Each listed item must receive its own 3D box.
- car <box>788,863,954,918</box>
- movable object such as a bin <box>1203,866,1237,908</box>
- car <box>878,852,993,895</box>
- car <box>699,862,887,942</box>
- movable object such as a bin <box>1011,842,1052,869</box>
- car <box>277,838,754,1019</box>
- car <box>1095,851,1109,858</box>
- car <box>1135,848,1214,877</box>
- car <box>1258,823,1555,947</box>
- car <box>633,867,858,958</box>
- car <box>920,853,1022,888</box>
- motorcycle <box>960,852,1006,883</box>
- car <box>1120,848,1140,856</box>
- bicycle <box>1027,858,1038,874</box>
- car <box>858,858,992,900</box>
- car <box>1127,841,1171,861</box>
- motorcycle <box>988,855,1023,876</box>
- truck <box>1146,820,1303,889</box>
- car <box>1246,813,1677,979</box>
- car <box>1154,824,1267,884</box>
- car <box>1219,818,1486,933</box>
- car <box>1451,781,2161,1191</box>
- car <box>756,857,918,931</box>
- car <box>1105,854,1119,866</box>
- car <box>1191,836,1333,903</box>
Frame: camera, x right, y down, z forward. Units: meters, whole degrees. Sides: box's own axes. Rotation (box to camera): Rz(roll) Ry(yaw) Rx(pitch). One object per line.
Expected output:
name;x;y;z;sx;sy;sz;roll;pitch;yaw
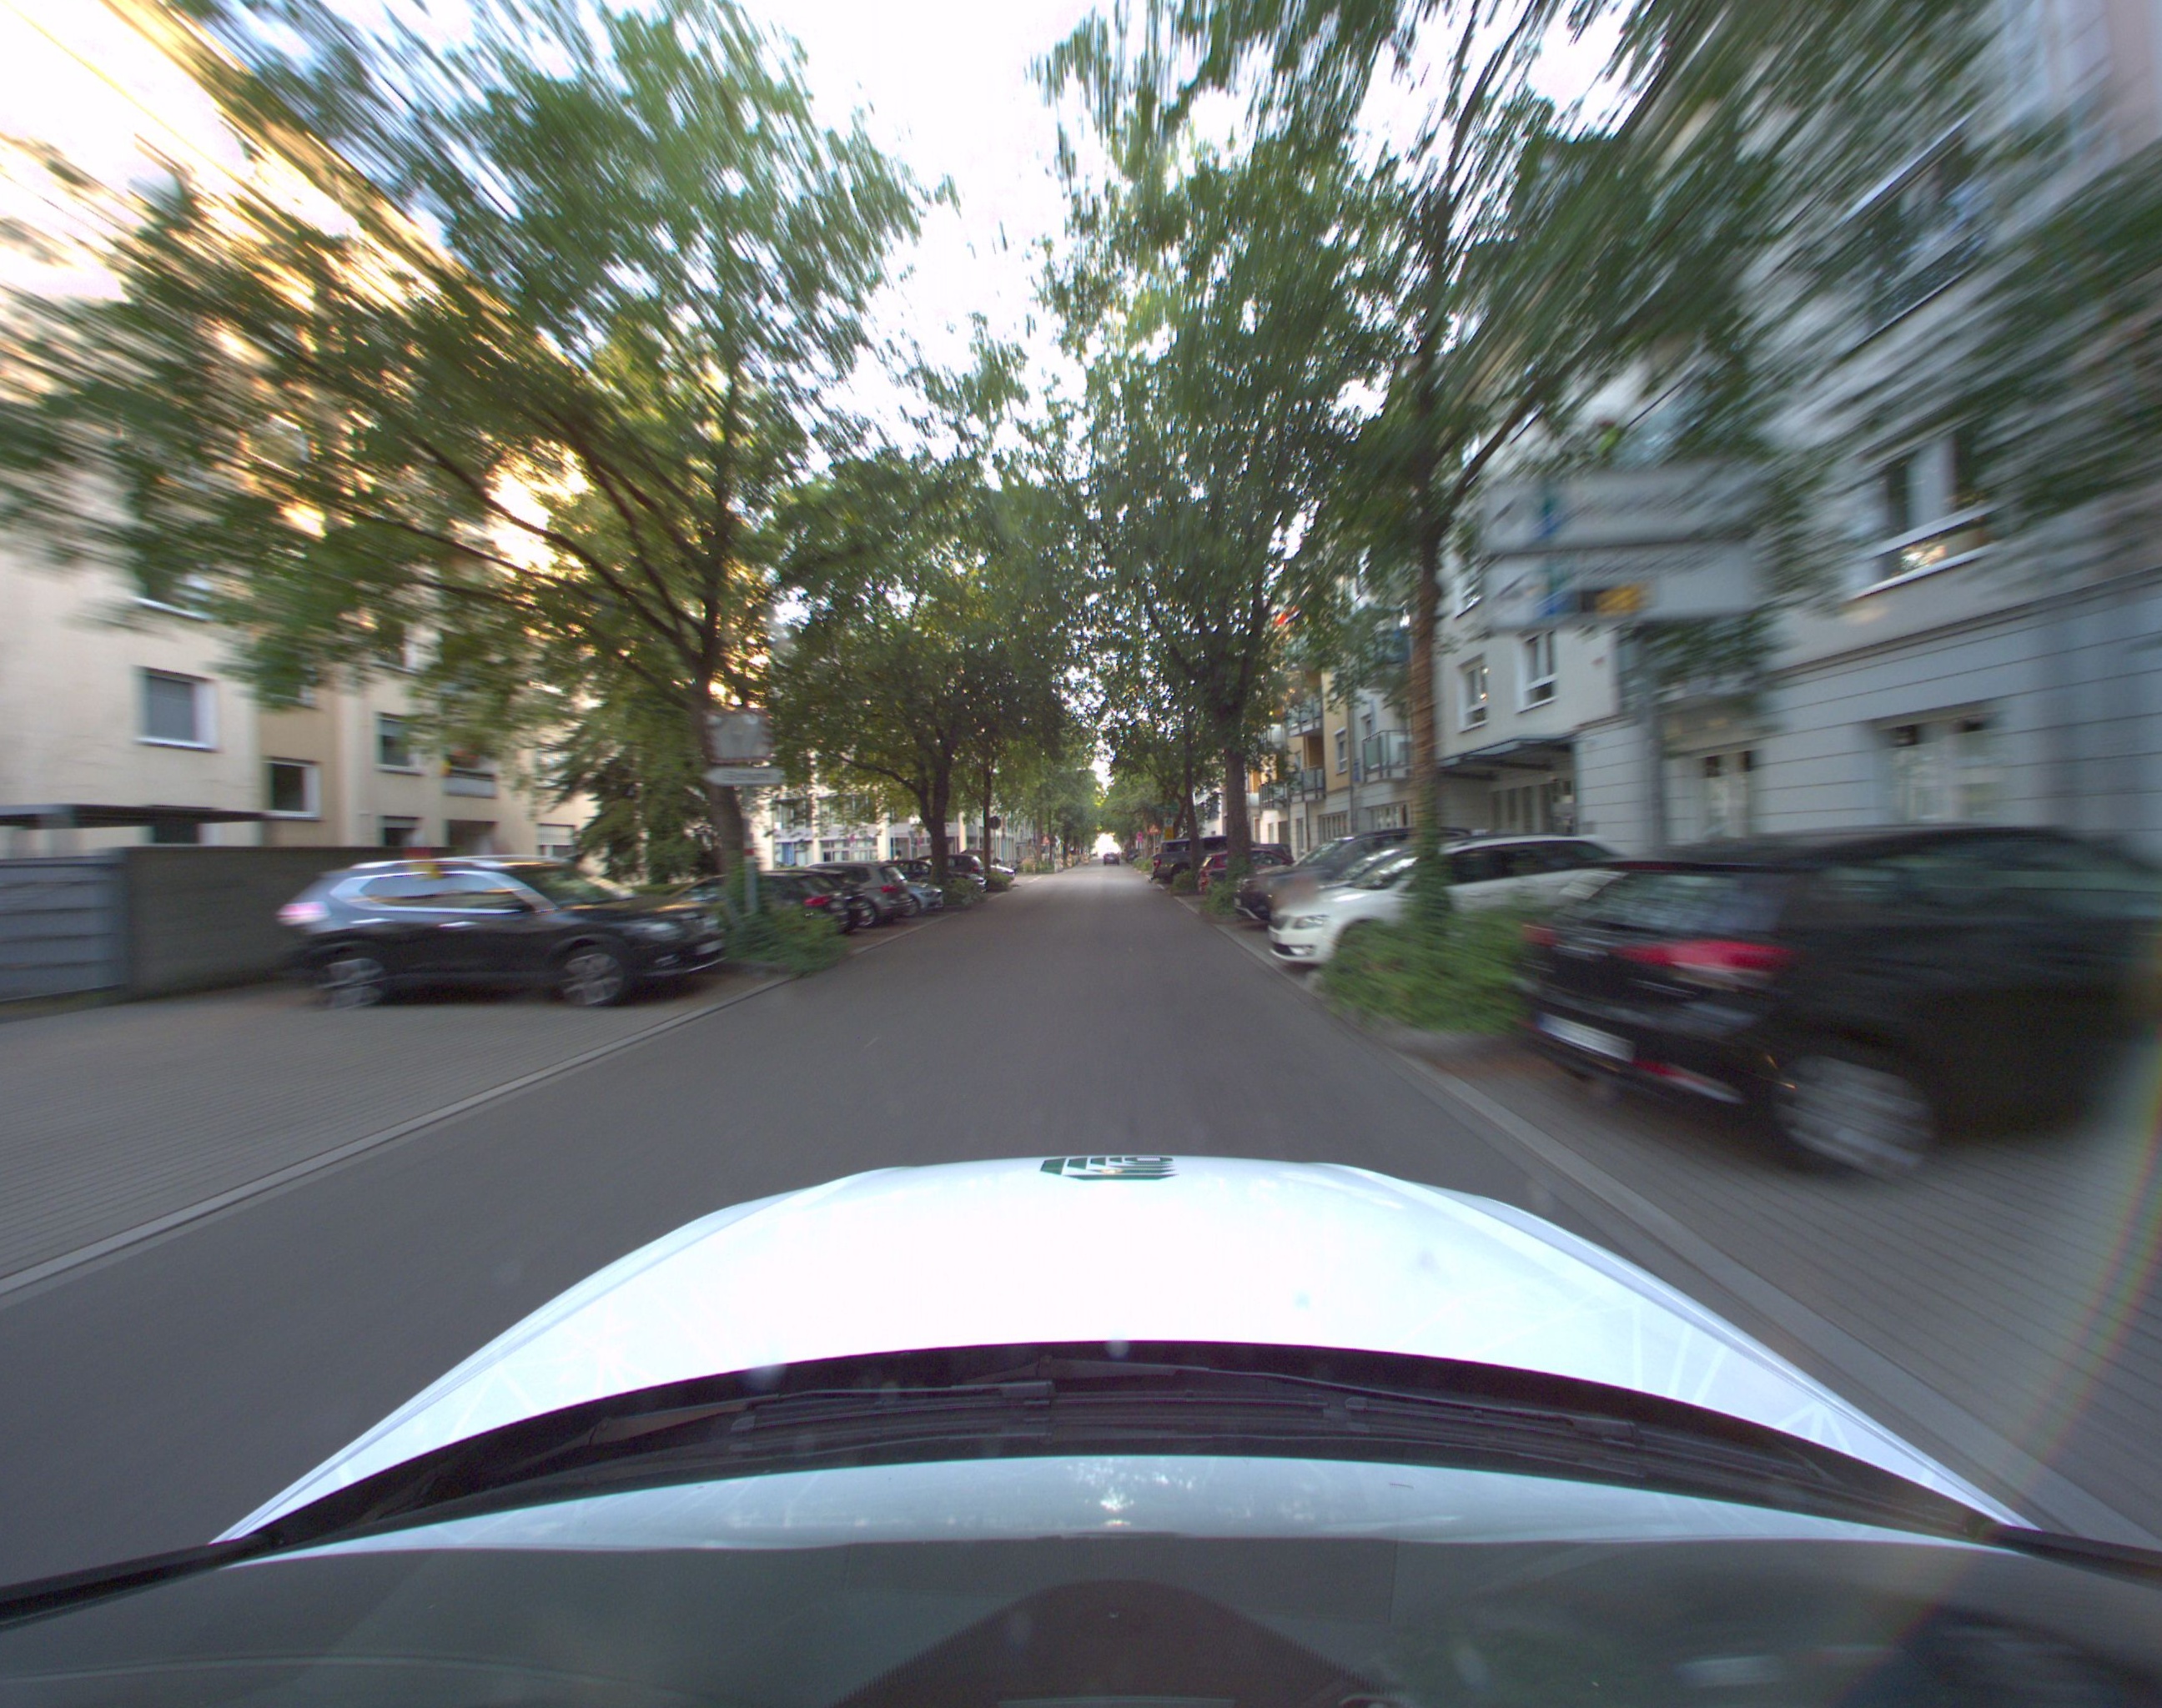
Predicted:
car;-5.712;0.983;22.507;4.087;1.379;1.746;-1;0;-1
movable object such as a bin;3.640;0.859;21.394;0.772;1.068;0.589;-2;0;1
car;-5.935;0.769;33.624;4.382;1.684;2.064;0;0;-1
car;-6.127;1.000;17.605;3.394;1.506;1.664;-2;0;-1
movable object such as a bin;-4.622;0.155;76.500;3.653;2.332;2.583;-2;0;0
car;-6.651;0.820;9.984;4.402;1.892;2.001;-1;0;1
car;6.482;0.182;250.222;3.982;1.914;1.774;-2;0;-6
car;5.496;0.481;48.139;4.281;1.508;1.865;-2;0;-11
car;4.999;0.465;12.964;3.970;1.525;1.728;-5;0;3
car;-6.045;1.026;14.933;3.394;1.442;1.594;-2;0;-1
car;-5.140;0.768;38.579;4.480;1.581;2.056;0;0;2
motorcycle;-5.076;0.682;42.086;2.207;1.493;0.692;-2;0;3
car;9.883;-0.391;164.577;3.976;1.597;1.999;-2;0;-2
bicycle;-3.658;0.874;61.083;0.599;1.118;1.801;-2;1;2
car;-5.911;0.926;31.363;4.701;1.424;2.071;-1;0;-1
car;7.725;-0.354;92.959;4.953;2.087;1.739;-2;0;1
motorcycle;-5.345;0.801;58.009;2.391;1.440;0.792;-2;0;-38
truck;5.810;0.027;33.620;5.982;2.133;2.262;-6;0;1
car;4.596;0.488;10.350;4.556;1.552;1.773;-5;0;1
car;5.694;0.011;36.250;4.603;2.133;2.037;-6;0;1
car;5.080;0.381;15.585;4.379;1.703;1.891;-5;0;-7
car;4.486;0.488;4.456;3.977;1.474;1.912;-5;0;-3
car;-5.901;0.950;19.983;3.394;1.609;1.760;-2;0;-1
car;3.645;0.689;95.908;1.495;1.416;3.714;-2;0;1
car;5.262;0.457;24.003;3.653;1.548;1.780;-5;-1;-1
